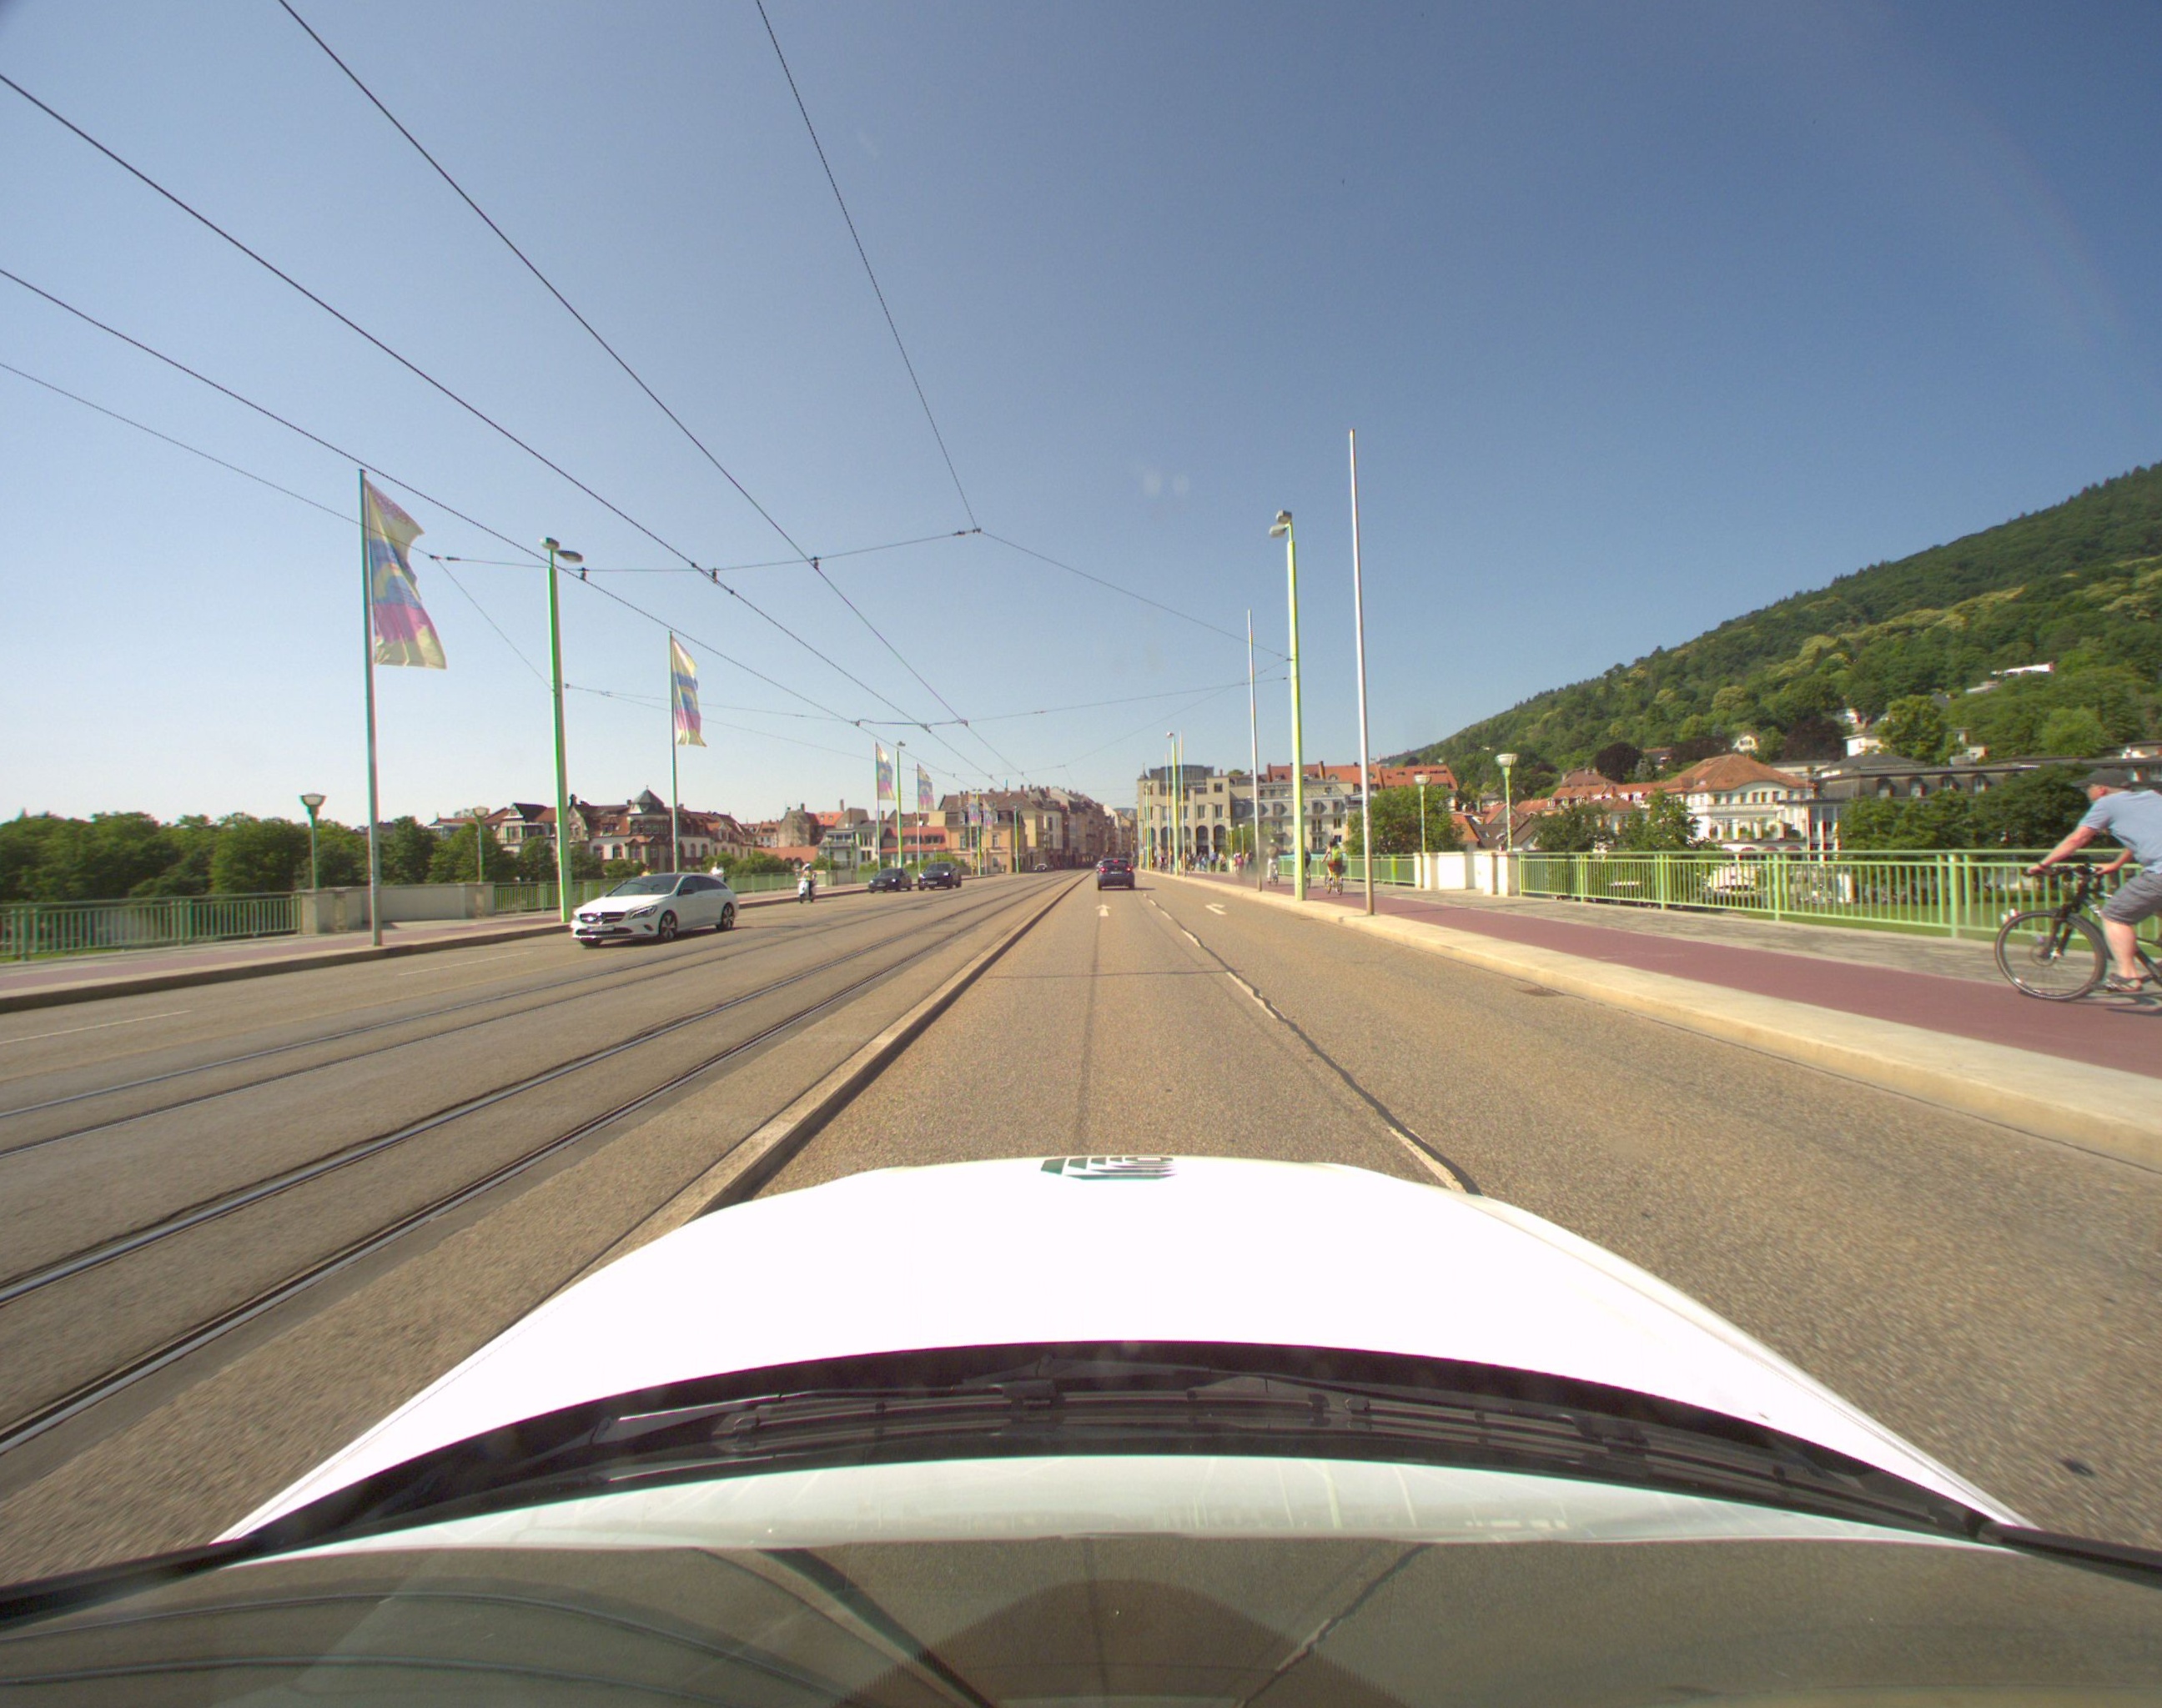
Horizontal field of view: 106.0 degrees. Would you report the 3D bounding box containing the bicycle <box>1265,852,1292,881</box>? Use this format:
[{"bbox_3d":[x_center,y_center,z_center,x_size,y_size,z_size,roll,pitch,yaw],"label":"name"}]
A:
[{"bbox_3d":[8.910,0.553,36.778,0.616,1.271,2.216,-2,0,0],"label":"bicycle"}]

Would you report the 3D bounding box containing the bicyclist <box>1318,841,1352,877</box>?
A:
[{"bbox_3d":[7.562,0.146,24.284,0.664,1.045,0.980,-2,0,0],"label":"bicyclist"}]

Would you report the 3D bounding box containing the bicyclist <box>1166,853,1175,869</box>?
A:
[{"bbox_3d":[9.071,0.699,82.370,0.713,1.676,0.869,-2,0,0],"label":"bicyclist"}]

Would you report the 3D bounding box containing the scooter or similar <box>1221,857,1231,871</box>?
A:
[{"bbox_3d":[11.351,0.781,63.913,0.586,1.069,0.865,-2,0,-1],"label":"scooter or similar"}]

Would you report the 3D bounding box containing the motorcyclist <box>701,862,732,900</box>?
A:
[{"bbox_3d":[-15.620,1.133,34.889,0.797,1.549,1.069,-2,0,1],"label":"motorcyclist"}]

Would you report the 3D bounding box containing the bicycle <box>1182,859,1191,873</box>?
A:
[{"bbox_3d":[9.018,1.014,69.717,0.524,1.178,2.029,-2,0,0],"label":"bicycle"}]

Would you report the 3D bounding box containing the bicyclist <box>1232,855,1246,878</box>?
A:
[{"bbox_3d":[7.647,0.595,39.381,0.595,1.101,0.855,-2,0,11],"label":"bicyclist"}]

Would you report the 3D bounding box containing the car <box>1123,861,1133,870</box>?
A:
[{"bbox_3d":[8.407,2.020,145.207,1.796,1.469,4.004,-3,0,4],"label":"car"}]

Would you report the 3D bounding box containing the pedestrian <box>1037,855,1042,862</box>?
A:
[{"bbox_3d":[-8.044,0.835,156.844,0.759,1.397,0.664,-2,0,3],"label":"pedestrian"}]

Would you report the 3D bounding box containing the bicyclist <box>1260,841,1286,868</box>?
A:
[{"bbox_3d":[7.606,0.006,32.335,0.733,1.030,1.175,-2,0,0],"label":"bicyclist"}]

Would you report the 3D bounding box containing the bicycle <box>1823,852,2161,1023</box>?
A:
[{"bbox_3d":[7.509,0.554,5.850,0.790,1.096,3.741,-2,0,-3],"label":"bicycle"}]

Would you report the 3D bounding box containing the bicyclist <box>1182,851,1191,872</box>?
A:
[{"bbox_3d":[9.000,0.641,69.651,0.625,1.689,0.869,-2,0,0],"label":"bicyclist"}]

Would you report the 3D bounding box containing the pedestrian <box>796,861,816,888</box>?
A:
[{"bbox_3d":[-17.768,1.302,52.695,0.827,1.722,1.094,-2,0,2],"label":"pedestrian"}]

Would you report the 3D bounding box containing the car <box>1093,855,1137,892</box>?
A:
[{"bbox_3d":[1.586,0.889,39.072,1.904,1.540,4.000,-2,1,0],"label":"car"}]

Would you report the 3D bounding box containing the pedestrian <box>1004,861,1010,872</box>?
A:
[{"bbox_3d":[-11.525,1.964,126.936,0.759,1.665,0.664,-2,0,3],"label":"pedestrian"}]

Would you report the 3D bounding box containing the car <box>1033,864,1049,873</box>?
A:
[{"bbox_3d":[-6.580,2.415,135.321,1.983,1.479,4.007,-2,0,6],"label":"car"}]

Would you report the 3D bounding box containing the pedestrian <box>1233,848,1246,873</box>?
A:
[{"bbox_3d":[10.018,0.410,51.393,0.597,1.586,0.866,-2,0,-1],"label":"pedestrian"}]

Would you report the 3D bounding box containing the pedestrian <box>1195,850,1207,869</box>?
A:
[{"bbox_3d":[11.330,0.486,76.864,0.926,1.761,0.938,-2,0,1],"label":"pedestrian"}]

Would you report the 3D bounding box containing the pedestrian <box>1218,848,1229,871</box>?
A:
[{"bbox_3d":[11.338,0.423,64.790,0.640,1.756,0.866,-2,0,-1],"label":"pedestrian"}]

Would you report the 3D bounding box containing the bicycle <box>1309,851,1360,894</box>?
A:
[{"bbox_3d":[7.545,0.536,24.302,0.693,1.193,2.077,-4,0,-3],"label":"bicycle"}]

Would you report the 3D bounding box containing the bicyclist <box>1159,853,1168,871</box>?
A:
[{"bbox_3d":[7.483,0.701,73.861,0.651,1.567,1.337,-3,-1,-1],"label":"bicyclist"}]

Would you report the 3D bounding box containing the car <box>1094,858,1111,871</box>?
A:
[{"bbox_3d":[2.676,1.304,101.872,1.799,1.469,3.998,-3,0,-1],"label":"car"}]

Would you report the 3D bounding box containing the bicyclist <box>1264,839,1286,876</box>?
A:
[{"bbox_3d":[8.778,0.178,36.935,0.733,1.635,0.866,-2,0,-1],"label":"bicyclist"}]

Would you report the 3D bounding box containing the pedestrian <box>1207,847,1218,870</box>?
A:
[{"bbox_3d":[10.633,0.347,65.772,0.710,1.810,0.848,-2,0,1],"label":"pedestrian"}]

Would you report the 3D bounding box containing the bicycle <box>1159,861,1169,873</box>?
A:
[{"bbox_3d":[7.515,1.183,73.791,0.651,0.981,2.177,-3,-1,-1],"label":"bicycle"}]

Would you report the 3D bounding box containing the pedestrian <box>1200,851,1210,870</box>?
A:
[{"bbox_3d":[10.145,0.536,66.696,0.611,1.465,0.848,-2,0,1],"label":"pedestrian"}]

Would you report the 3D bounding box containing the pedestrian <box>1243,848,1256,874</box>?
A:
[{"bbox_3d":[10.613,0.452,51.412,0.597,1.586,0.866,-2,0,-1],"label":"pedestrian"}]

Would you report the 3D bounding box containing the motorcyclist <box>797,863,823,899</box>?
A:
[{"bbox_3d":[-12.149,1.215,36.527,0.825,1.574,0.832,-2,0,1],"label":"motorcyclist"}]

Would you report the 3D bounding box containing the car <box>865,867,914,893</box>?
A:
[{"bbox_3d":[-11.382,1.509,48.616,1.752,1.362,4.384,-2,0,1],"label":"car"}]

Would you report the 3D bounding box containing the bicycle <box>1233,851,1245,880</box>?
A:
[{"bbox_3d":[7.642,0.536,39.313,0.531,1.367,2.223,-2,0,11],"label":"bicycle"}]

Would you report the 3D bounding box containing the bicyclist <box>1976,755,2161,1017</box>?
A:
[{"bbox_3d":[7.487,0.198,5.905,0.671,1.743,1.149,-2,0,-3],"label":"bicyclist"}]

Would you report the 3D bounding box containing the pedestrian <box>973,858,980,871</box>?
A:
[{"bbox_3d":[-14.343,1.421,112.048,0.759,1.786,0.664,-2,0,3],"label":"pedestrian"}]

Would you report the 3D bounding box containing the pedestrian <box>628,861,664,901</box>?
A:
[{"bbox_3d":[-18.348,1.119,34.353,0.895,1.658,1.029,-1,0,4],"label":"pedestrian"}]

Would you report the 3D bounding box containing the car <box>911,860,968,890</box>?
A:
[{"bbox_3d":[-8.266,1.206,47.929,1.982,1.599,4.348,-2,0,8],"label":"car"}]

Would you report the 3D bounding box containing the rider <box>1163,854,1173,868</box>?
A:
[{"bbox_3d":[9.225,0.746,86.540,0.886,1.504,0.841,-2,0,0],"label":"rider"}]

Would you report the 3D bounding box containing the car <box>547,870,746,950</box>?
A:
[{"bbox_3d":[-9.439,1.136,18.212,1.987,1.409,4.546,-3,0,-1],"label":"car"}]

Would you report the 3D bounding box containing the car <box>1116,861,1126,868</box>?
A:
[{"bbox_3d":[8.851,2.335,180.063,1.868,1.409,4.008,-2,0,7],"label":"car"}]

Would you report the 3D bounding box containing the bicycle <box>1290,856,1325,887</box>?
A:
[{"bbox_3d":[8.225,0.618,29.713,0.616,1.037,2.266,-2,0,0],"label":"bicycle"}]

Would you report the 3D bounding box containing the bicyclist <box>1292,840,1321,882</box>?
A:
[{"bbox_3d":[8.196,0.251,29.625,0.733,1.500,0.980,-2,0,0],"label":"bicyclist"}]

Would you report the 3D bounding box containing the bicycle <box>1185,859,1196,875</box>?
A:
[{"bbox_3d":[8.733,1.038,65.125,0.591,1.178,1.939,-2,0,0],"label":"bicycle"}]

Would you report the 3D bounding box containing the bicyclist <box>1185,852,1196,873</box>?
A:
[{"bbox_3d":[8.725,0.690,64.993,0.654,1.676,0.869,-2,0,0],"label":"bicyclist"}]

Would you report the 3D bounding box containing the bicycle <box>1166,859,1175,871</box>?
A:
[{"bbox_3d":[9.089,1.101,82.434,0.664,1.178,2.028,-2,0,0],"label":"bicycle"}]

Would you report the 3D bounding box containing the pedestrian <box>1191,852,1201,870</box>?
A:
[{"bbox_3d":[11.079,0.666,78.553,0.831,1.689,0.869,-2,0,1],"label":"pedestrian"}]

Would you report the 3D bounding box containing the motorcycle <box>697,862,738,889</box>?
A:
[{"bbox_3d":[-15.550,0.902,34.914,0.698,1.110,2.179,-2,0,1],"label":"motorcycle"}]

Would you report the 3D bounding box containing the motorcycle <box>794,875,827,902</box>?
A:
[{"bbox_3d":[-12.103,1.538,36.507,0.698,1.110,2.179,-2,0,1],"label":"motorcycle"}]

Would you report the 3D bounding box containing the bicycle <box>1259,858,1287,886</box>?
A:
[{"bbox_3d":[7.619,0.688,32.408,0.616,1.037,2.051,-2,0,0],"label":"bicycle"}]
